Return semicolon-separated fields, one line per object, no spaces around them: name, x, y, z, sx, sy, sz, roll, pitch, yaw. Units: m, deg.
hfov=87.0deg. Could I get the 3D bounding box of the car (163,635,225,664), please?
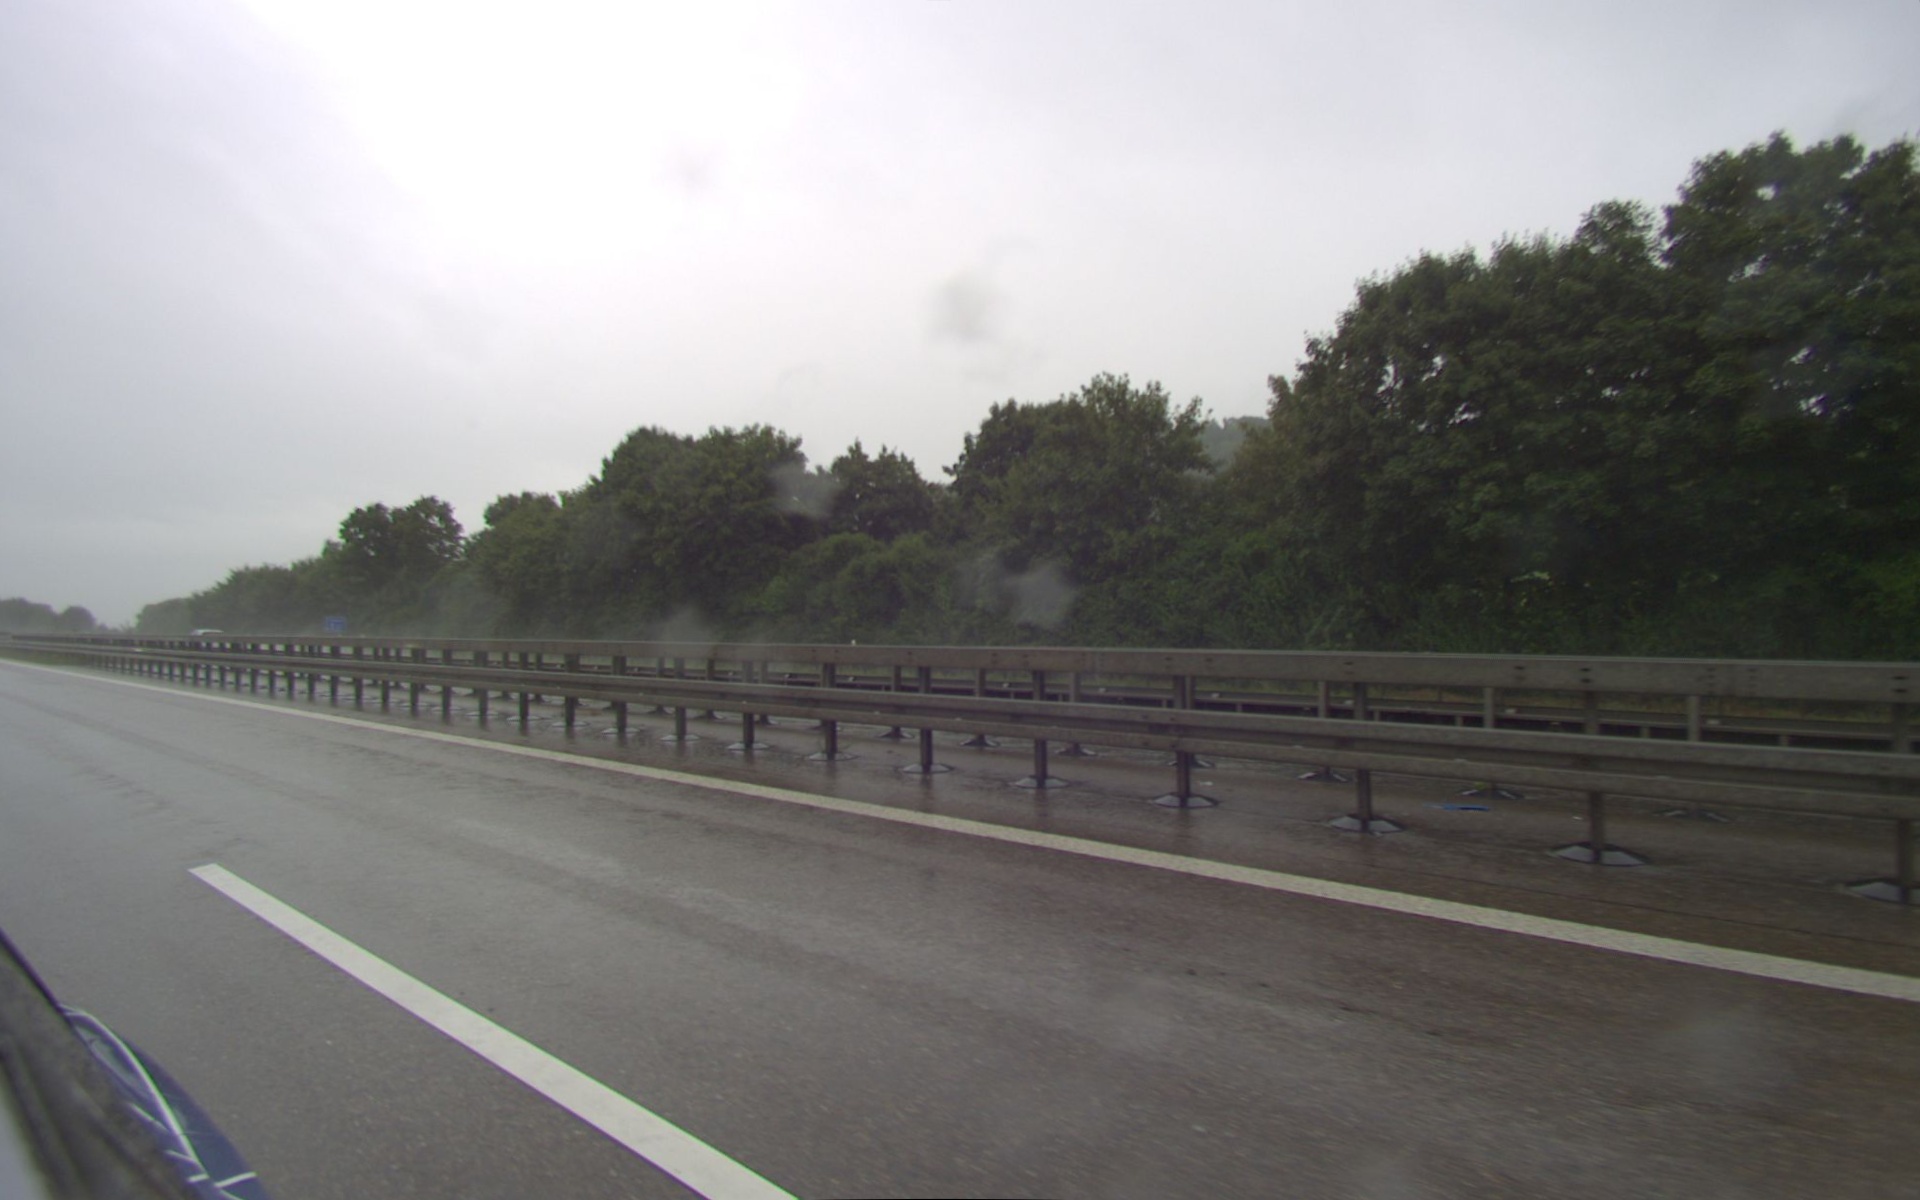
car;-47.495;3.038;62.702;5.301;1.705;1.973;-2;-2;41
